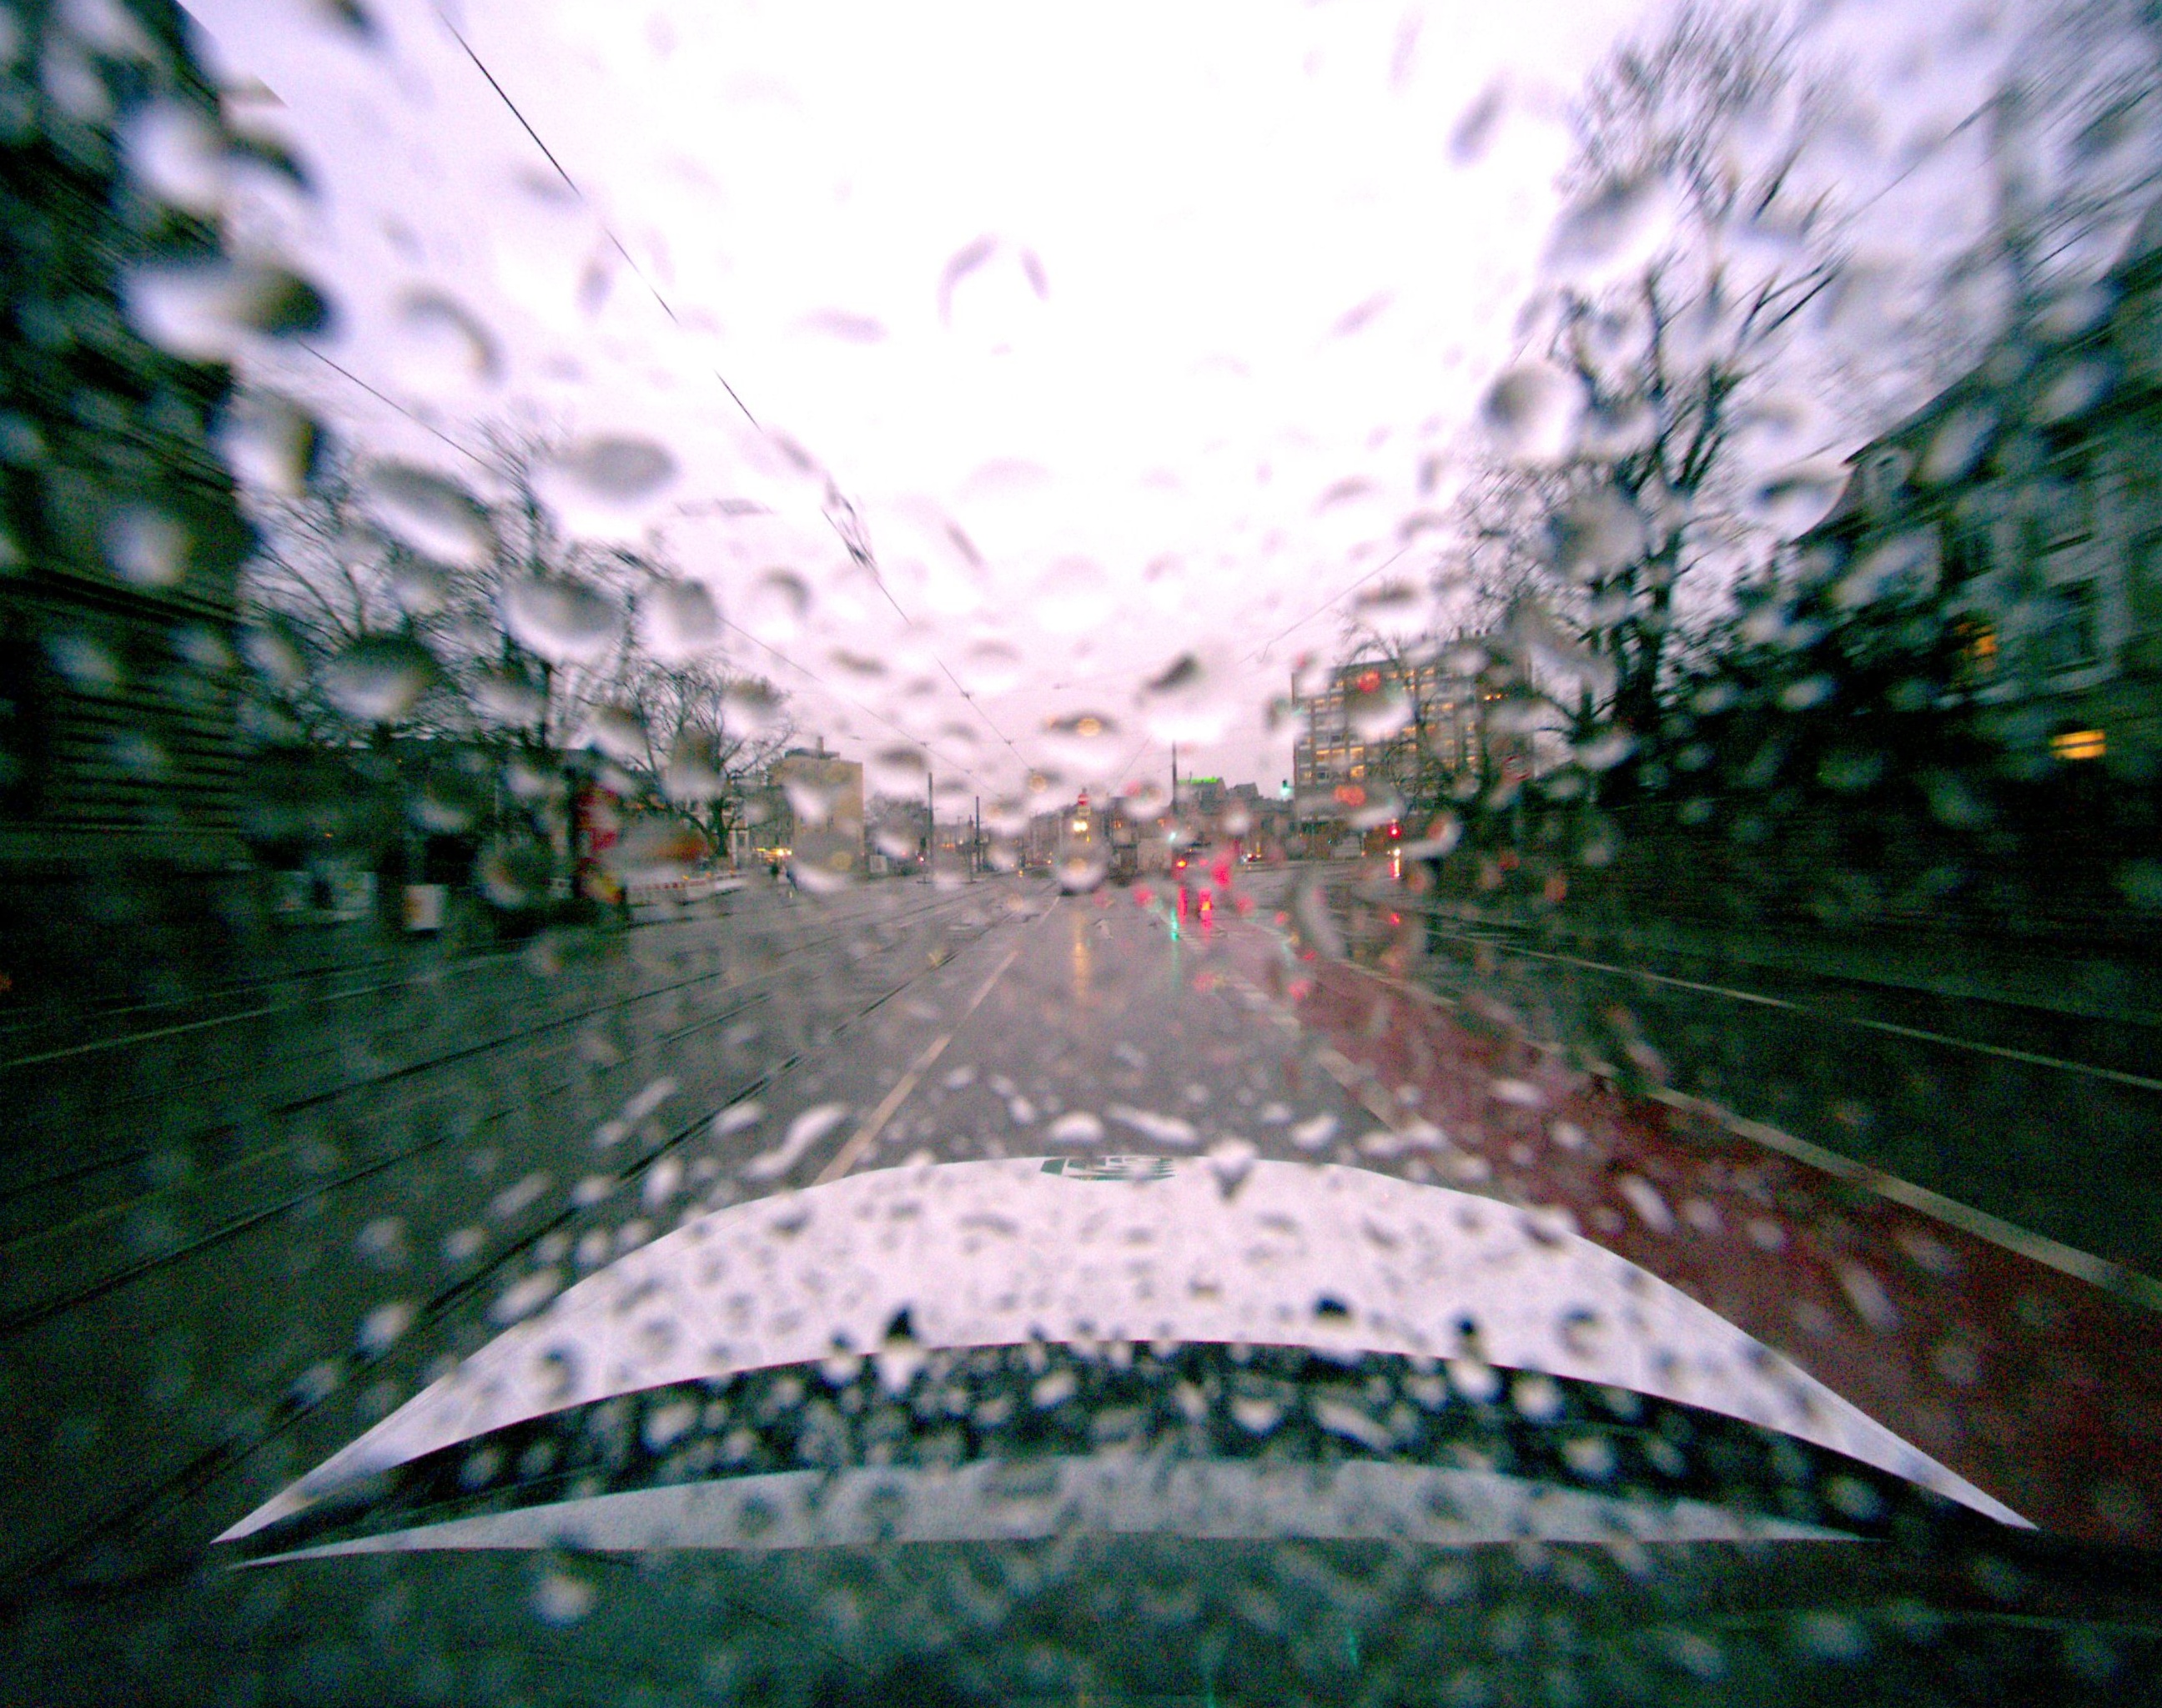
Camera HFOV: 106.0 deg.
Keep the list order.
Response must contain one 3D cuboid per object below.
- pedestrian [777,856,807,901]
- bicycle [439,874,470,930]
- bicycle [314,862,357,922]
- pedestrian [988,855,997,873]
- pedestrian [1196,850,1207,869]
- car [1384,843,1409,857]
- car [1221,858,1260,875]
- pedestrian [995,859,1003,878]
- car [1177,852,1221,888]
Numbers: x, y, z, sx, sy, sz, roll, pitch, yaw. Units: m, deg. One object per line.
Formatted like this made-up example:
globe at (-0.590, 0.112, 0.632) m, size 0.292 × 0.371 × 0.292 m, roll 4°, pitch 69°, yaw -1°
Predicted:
pedestrian at (-15.591, 1.331, 43.986) m, size 0.984 × 2.370 × 1.071 m, roll 0°, pitch -1°, yaw 31°
bicycle at (-20.152, 1.499, 26.193) m, size 0.717 × 1.689 × 2.402 m, roll 2°, pitch -1°, yaw -38°
bicycle at (-22.107, 1.096, 24.176) m, size 0.717 × 1.689 × 2.402 m, roll 2°, pitch -1°, yaw -38°
pedestrian at (-8.405, 0.961, 77.119) m, size 0.709 × 1.757 × 0.717 m, roll 0°, pitch -1°, yaw 1°
pedestrian at (10.814, 0.495, 73.226) m, size 0.666 × 1.674 × 0.735 m, roll 0°, pitch -1°, yaw 39°
car at (38.537, -0.492, 99.497) m, size 1.737 × 1.662 × 4.559 m, roll -3°, pitch -1°, yaw 35°
car at (22.302, 1.706, 114.014) m, size 2.269 × 2.281 × 4.981 m, roll 2°, pitch -1°, yaw -38°
pedestrian at (-7.976, 1.413, 79.310) m, size 0.709 × 1.806 × 0.717 m, roll 0°, pitch -1°, yaw 1°
car at (6.510, 0.831, 44.679) m, size 1.633 × 1.818 × 4.020 m, roll 0°, pitch 1°, yaw 19°
